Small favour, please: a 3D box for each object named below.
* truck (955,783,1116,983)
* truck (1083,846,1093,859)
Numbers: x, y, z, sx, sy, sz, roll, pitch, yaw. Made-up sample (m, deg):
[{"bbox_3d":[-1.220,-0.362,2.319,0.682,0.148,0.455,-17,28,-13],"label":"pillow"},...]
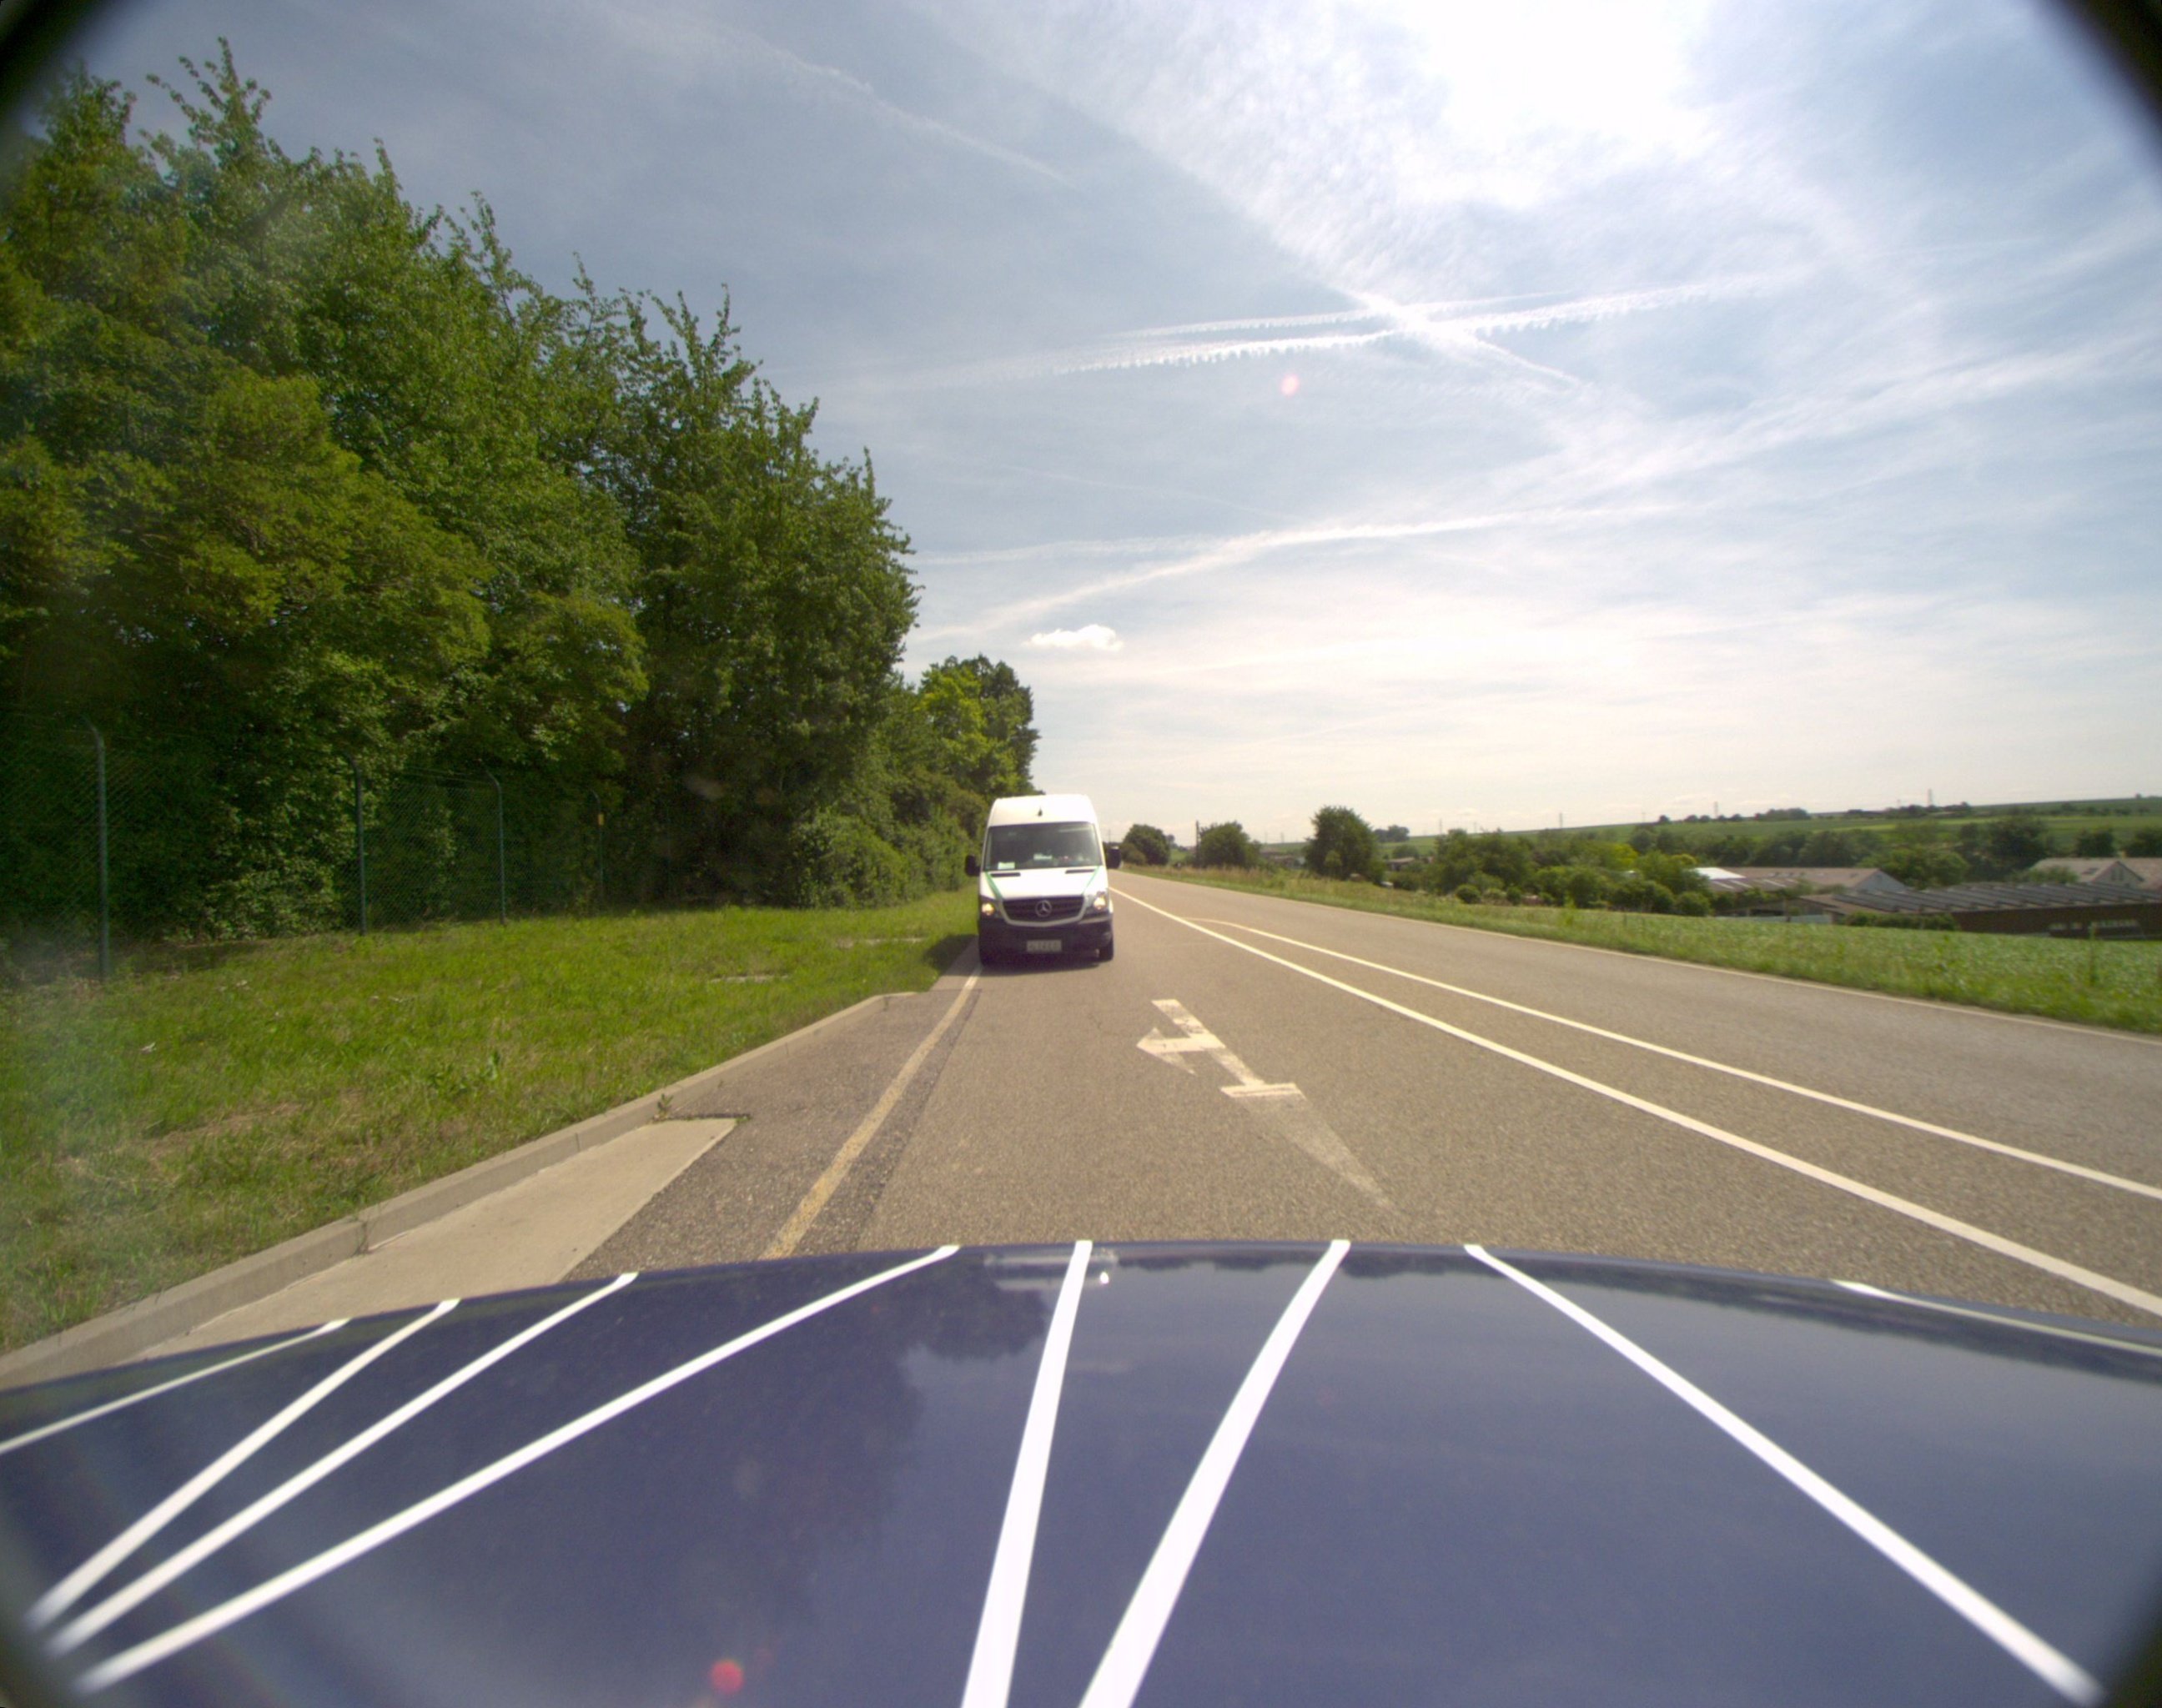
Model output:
[{"bbox_3d":[-0.559,0.378,13.668,2.023,2.567,7.225,-3,0,1],"label":"truck"},{"bbox_3d":[2.069,-0.336,218.363,2.763,3.555,11.066,1,0,1],"label":"truck"}]
